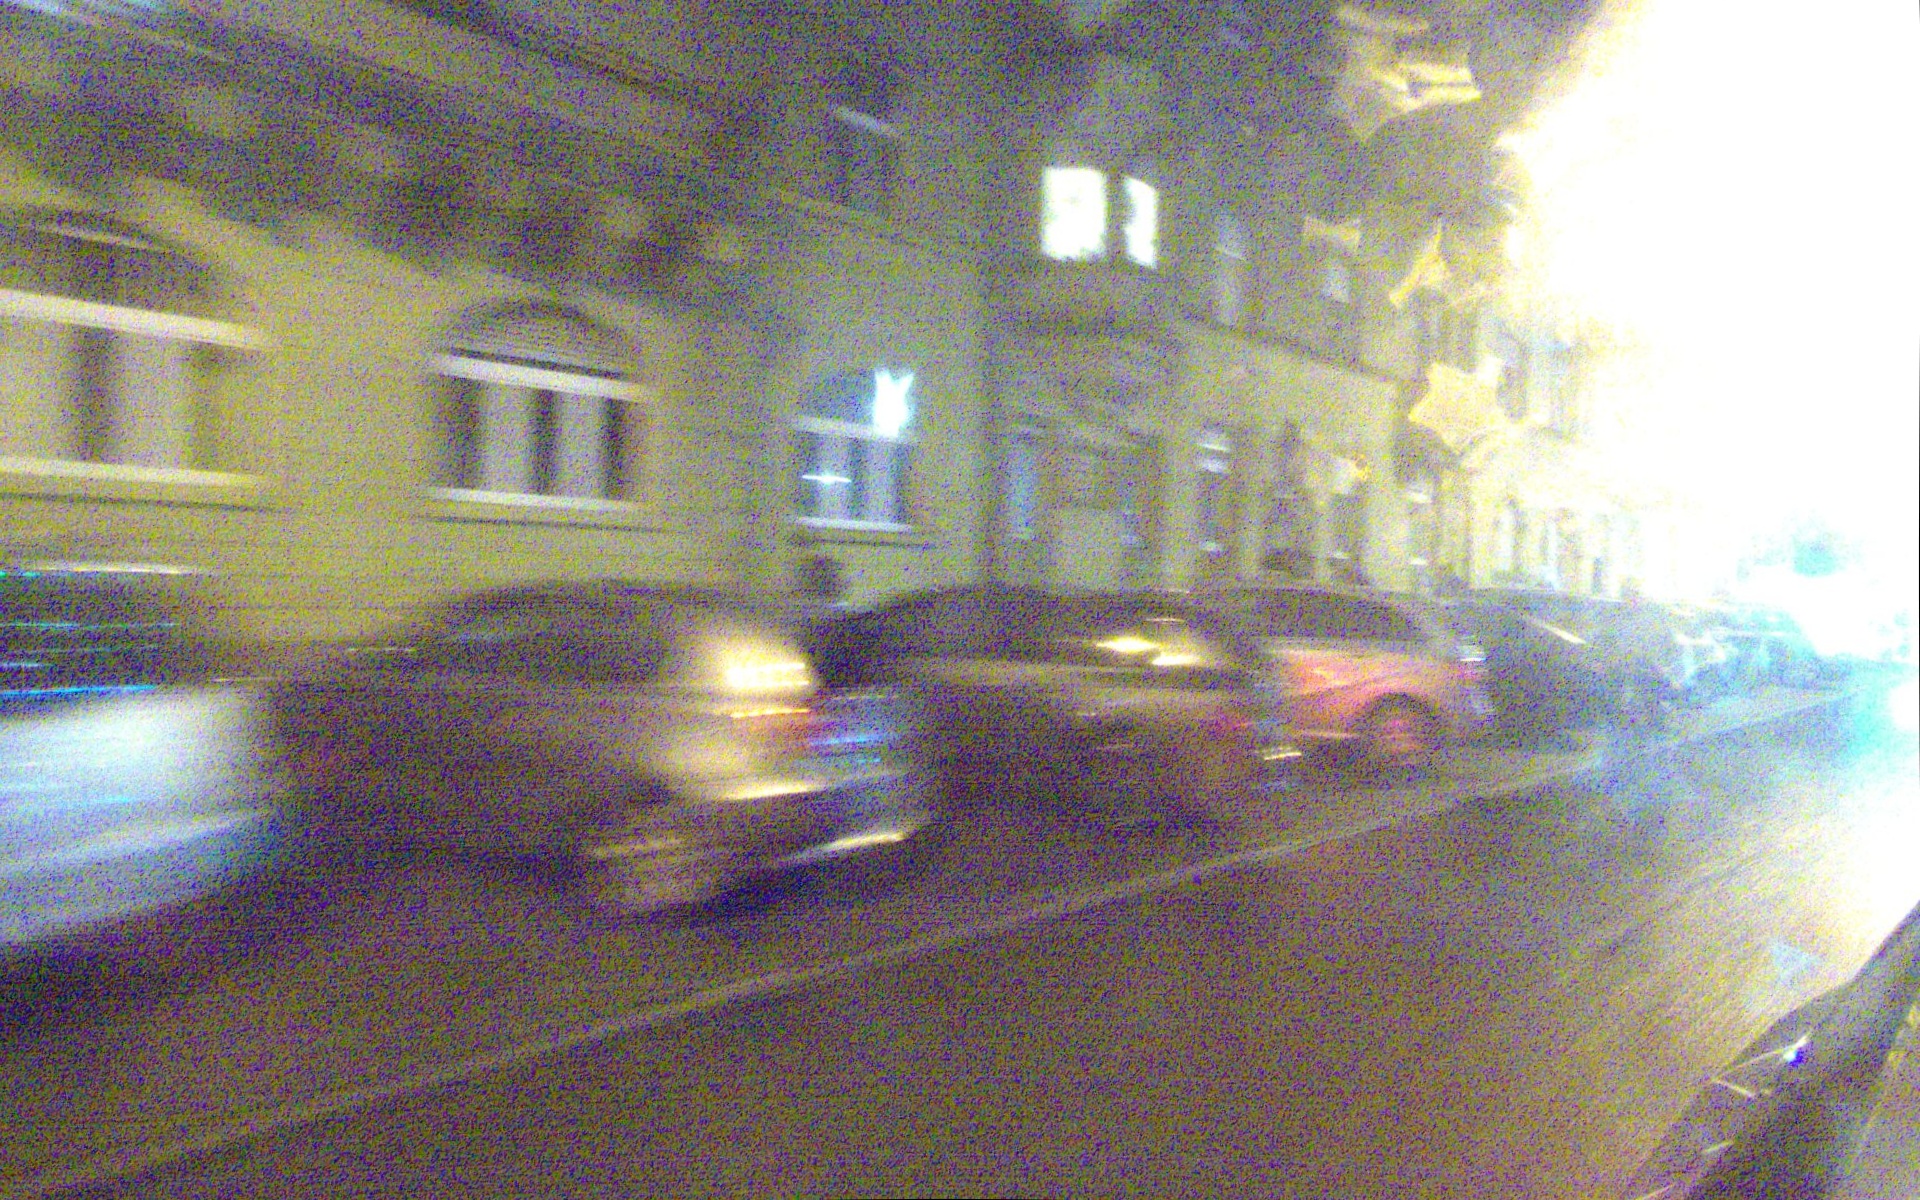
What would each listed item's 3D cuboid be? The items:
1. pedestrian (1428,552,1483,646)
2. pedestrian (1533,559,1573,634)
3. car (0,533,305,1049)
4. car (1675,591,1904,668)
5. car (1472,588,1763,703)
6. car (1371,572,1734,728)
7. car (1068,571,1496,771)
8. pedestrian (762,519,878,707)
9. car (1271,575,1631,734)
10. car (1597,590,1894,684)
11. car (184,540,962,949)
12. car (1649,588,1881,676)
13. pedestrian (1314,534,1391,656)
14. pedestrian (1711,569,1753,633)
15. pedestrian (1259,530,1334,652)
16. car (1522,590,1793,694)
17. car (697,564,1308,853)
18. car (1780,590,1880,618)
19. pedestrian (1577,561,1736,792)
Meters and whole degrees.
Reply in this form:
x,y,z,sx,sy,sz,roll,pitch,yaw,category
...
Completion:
x,y,z,sx,sy,sz,roll,pitch,yaw,category
9.861,-0.021,20.145,0.770,1.812,0.657,3,0,-41,pedestrian
13.755,-0.077,23.462,0.590,1.685,0.575,3,0,-41,pedestrian
-4.332,0.479,3.669,3.414,1.486,1.618,3,2,22,car
18.527,0.612,22.763,3.545,1.580,1.706,1,1,12,car
9.902,0.631,15.510,3.347,1.580,1.632,1,1,14,car
7.457,0.549,13.206,3.756,1.710,1.824,2,1,20,car
2.838,0.547,9.397,3.460,1.580,1.587,1,1,15,car
-1.463,0.127,10.562,0.828,1.864,0.747,3,0,-41,pedestrian
5.332,0.531,11.418,3.346,1.580,1.588,1,1,13,car
14.613,0.635,19.069,4.052,1.510,1.589,2,1,13,car
-2.006,0.505,5.336,3.684,1.486,1.603,3,3,20,car
16.672,0.618,21.126,3.347,1.612,1.588,2,1,14,car
6.223,-0.080,16.052,0.855,1.864,0.747,3,0,-41,pedestrian
24.042,0.027,31.519,0.868,1.930,0.806,3,0,-41,pedestrian
5.496,-0.142,16.522,0.828,1.928,0.747,3,0,-41,pedestrian
11.758,0.654,17.308,3.435,1.580,1.628,1,1,17,car
0.322,0.569,7.188,4.004,1.580,1.738,1,1,22,car
48.148,0.203,56.143,1.592,1.443,4.212,1,1,-7,car
5.872,0.586,8.521,1.157,1.792,0.823,0,0,-40,pedestrian
